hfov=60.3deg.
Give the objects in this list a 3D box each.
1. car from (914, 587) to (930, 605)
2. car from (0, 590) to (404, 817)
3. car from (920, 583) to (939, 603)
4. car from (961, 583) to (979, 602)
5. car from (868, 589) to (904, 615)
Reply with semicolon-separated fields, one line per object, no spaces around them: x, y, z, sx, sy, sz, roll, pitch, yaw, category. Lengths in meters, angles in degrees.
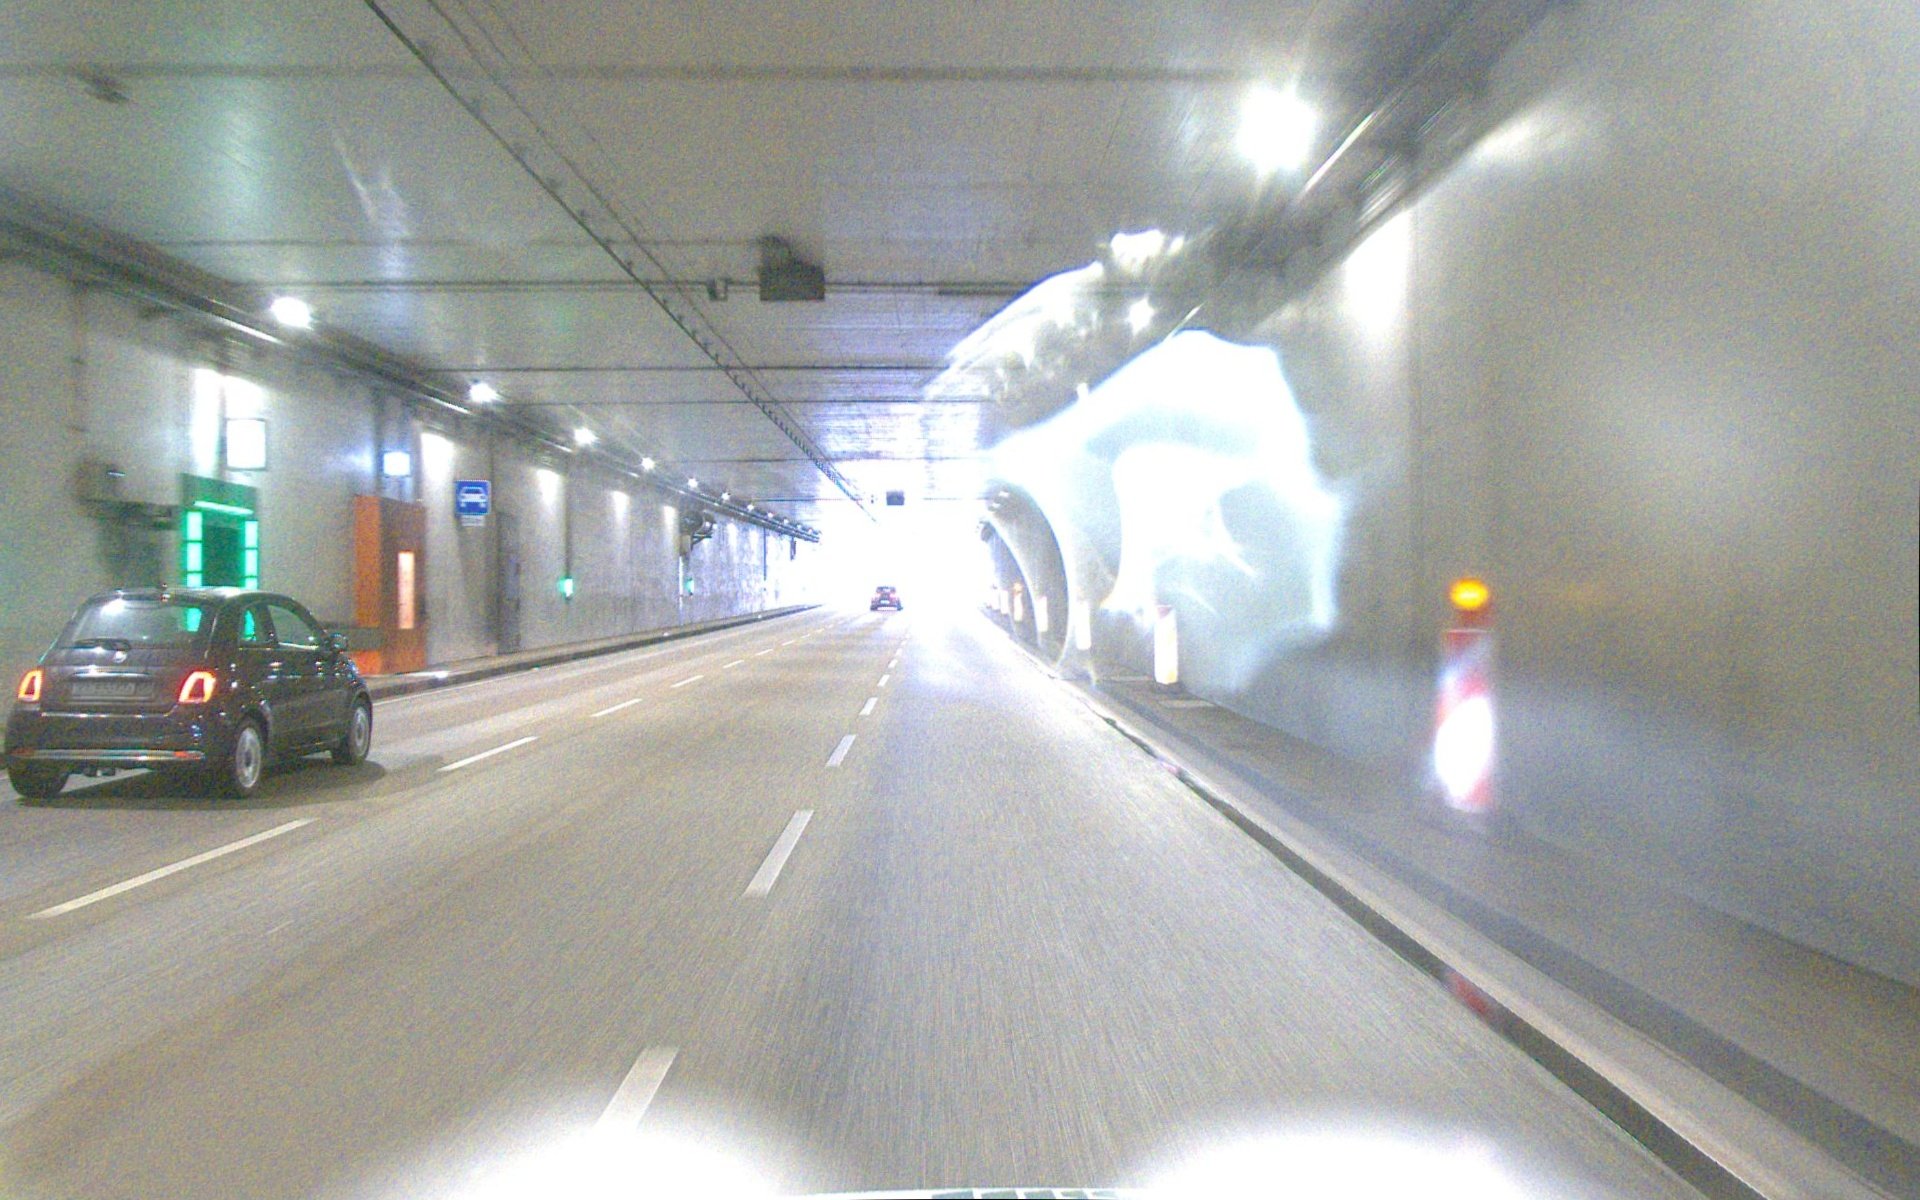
-4.661;-0.470;202.453;1.953;2.049;3.998;-1;-1;-2;car
-5.727;0.690;12.877;1.579;1.480;3.572;2;0;-1;car
-3.112;-0.716;168.766;1.953;2.049;3.999;0;0;-1;car
1.067;-0.823;183.117;1.953;2.049;3.999;0;0;-1;car
-4.435;0.102;98.266;1.954;1.473;4.311;2;0;-4;car
